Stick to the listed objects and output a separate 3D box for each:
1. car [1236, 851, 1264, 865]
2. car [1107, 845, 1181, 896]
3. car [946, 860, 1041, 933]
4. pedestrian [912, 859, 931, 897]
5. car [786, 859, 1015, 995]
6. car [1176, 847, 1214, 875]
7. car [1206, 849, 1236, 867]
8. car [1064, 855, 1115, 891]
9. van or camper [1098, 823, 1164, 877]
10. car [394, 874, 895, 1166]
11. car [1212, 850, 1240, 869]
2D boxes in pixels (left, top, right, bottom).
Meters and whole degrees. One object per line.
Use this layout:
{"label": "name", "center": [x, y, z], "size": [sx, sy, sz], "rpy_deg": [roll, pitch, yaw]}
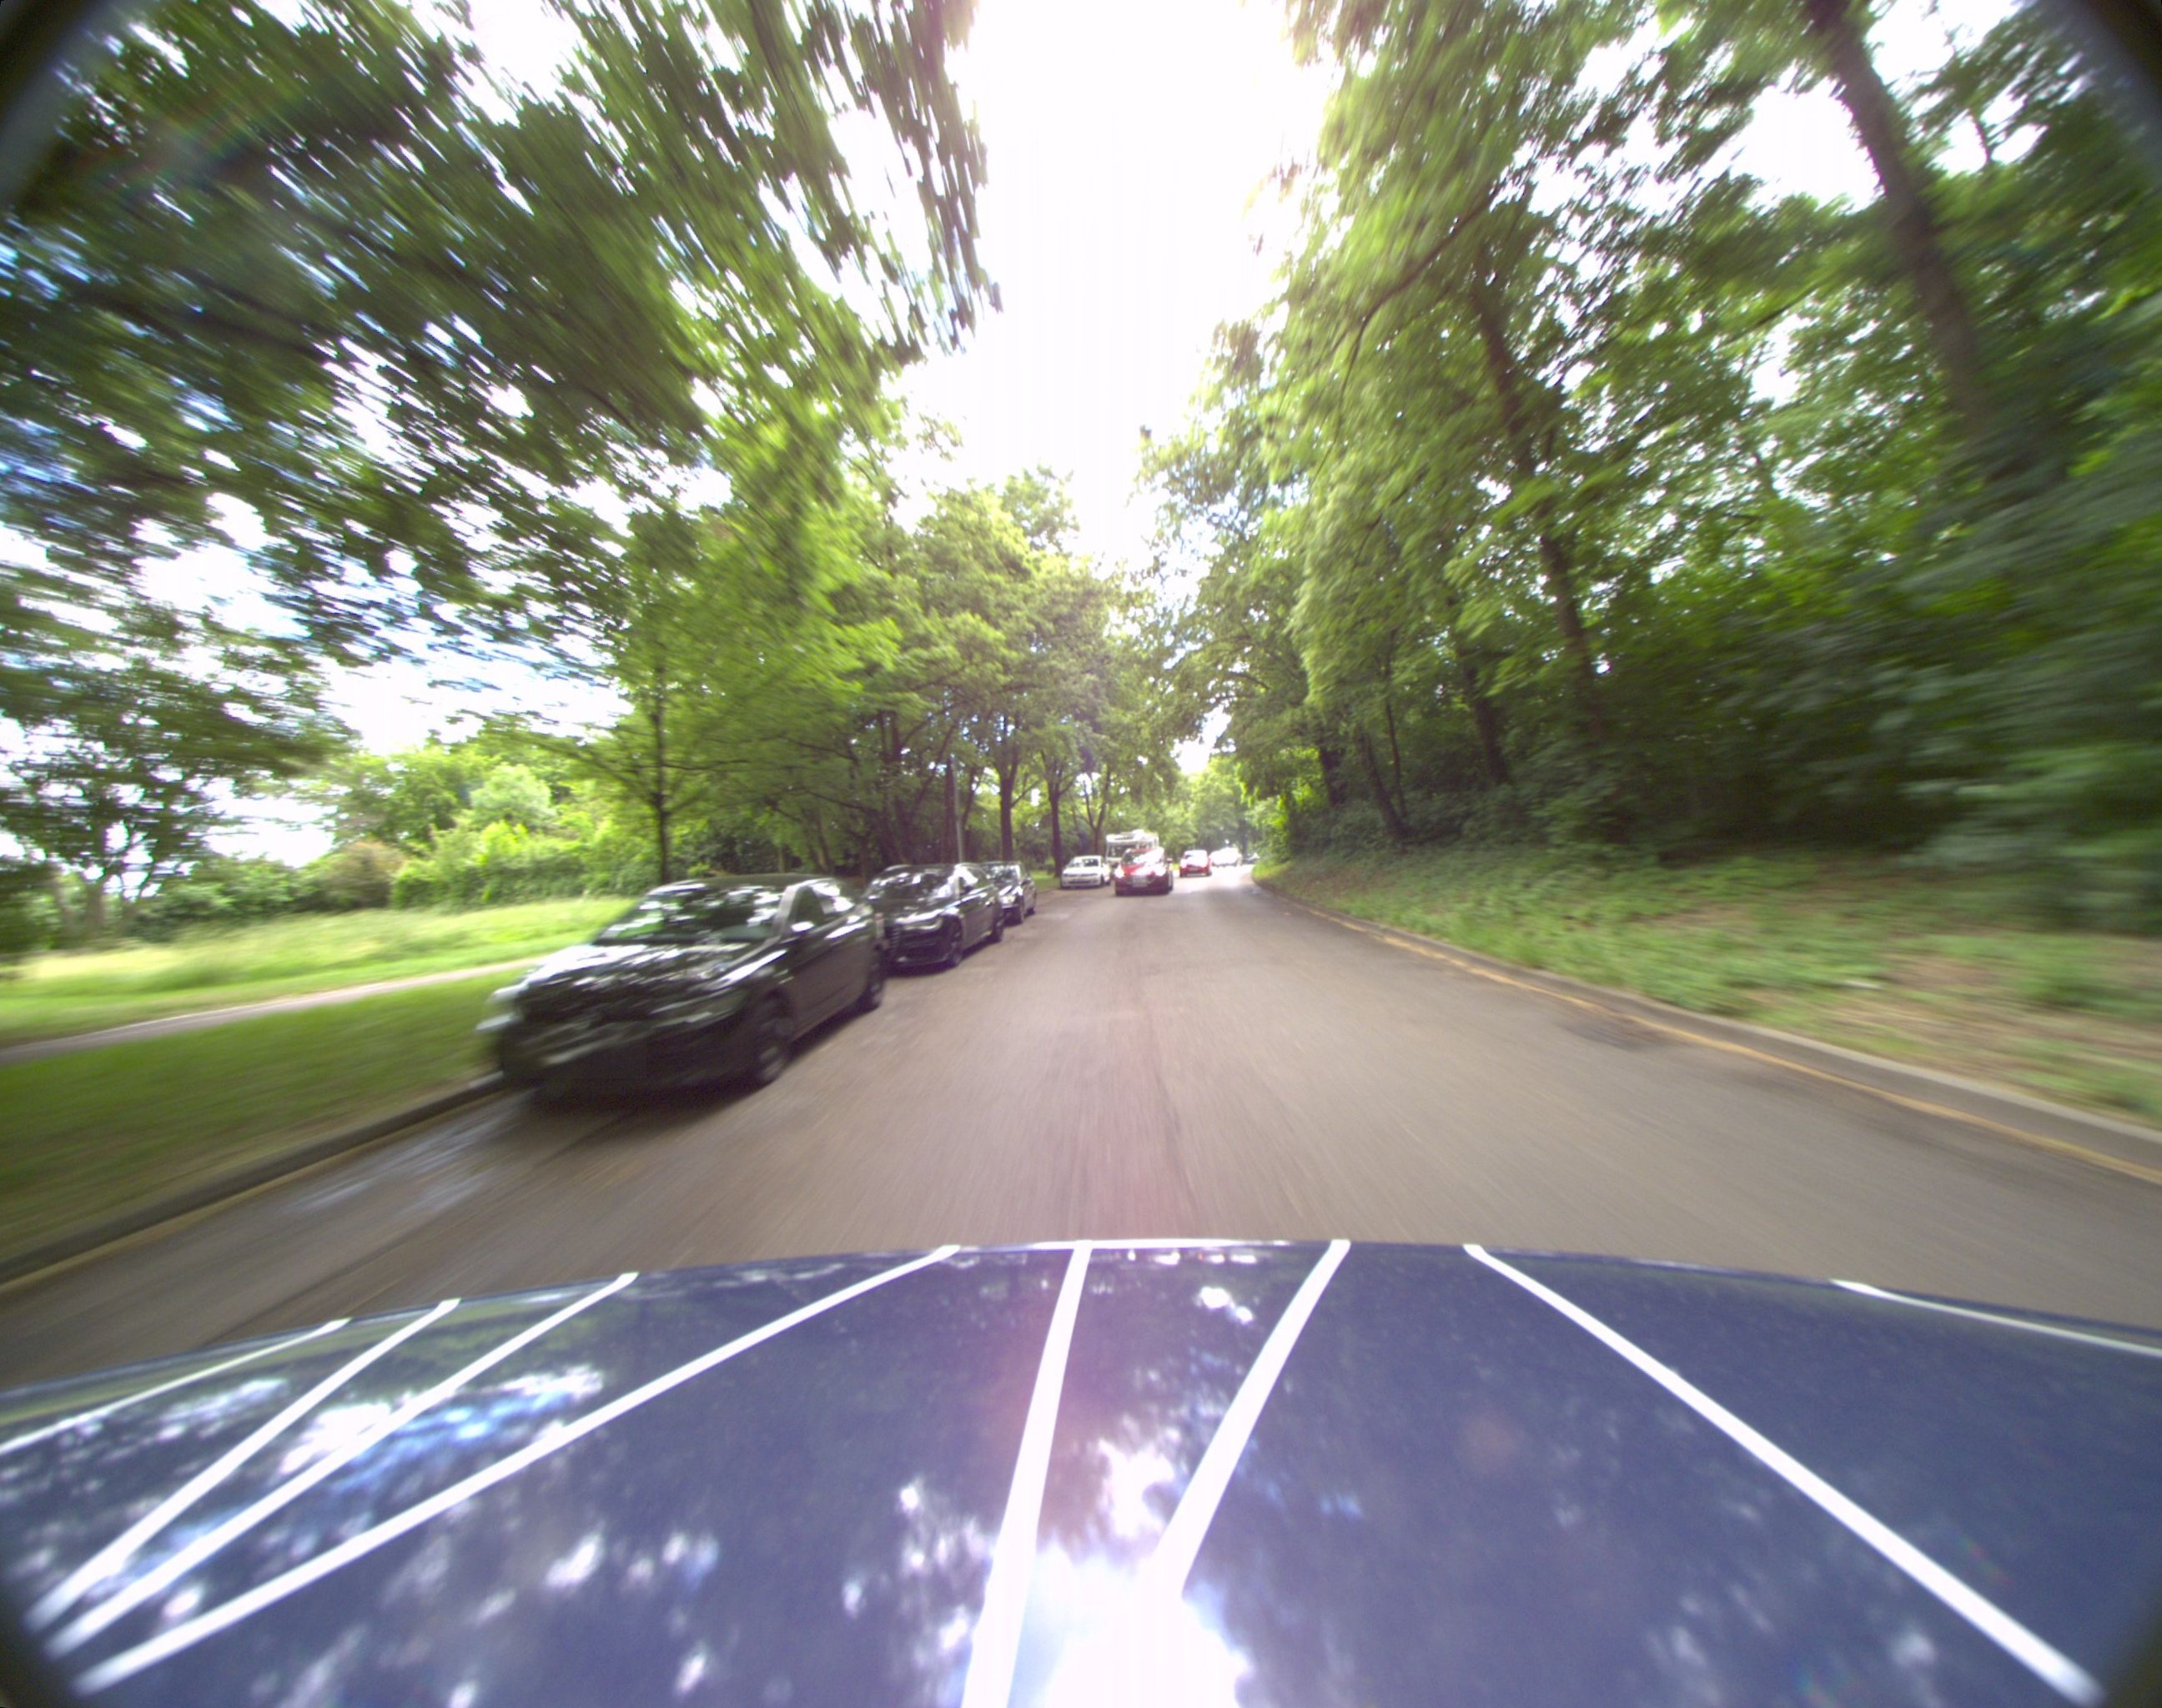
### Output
{"label": "car", "center": [19.140, 0.435, 86.028], "size": [1.712, 1.248, 4.685], "rpy_deg": [-4, 0, 30]}
{"label": "car", "center": [2.395, 0.532, 27.757], "size": [2.002, 1.599, 4.681], "rpy_deg": [-4, 0, 12]}
{"label": "car", "center": [-1.946, 0.921, 18.158], "size": [1.593, 1.457, 4.317], "rpy_deg": [-3, -1, 2]}
{"label": "pedestrian", "center": [-7.176, 1.077, 34.163], "size": [0.582, 1.642, 0.872], "rpy_deg": [-4, 0, 0]}
{"label": "car", "center": [-2.523, 0.952, 12.040], "size": [1.917, 1.602, 4.736], "rpy_deg": [-4, 0, 7]}
{"label": "car", "center": [6.744, 0.364, 44.599], "size": [1.956, 1.464, 4.681], "rpy_deg": [-4, 0, 10]}
{"label": "car", "center": [14.152, 0.407, 76.622], "size": [1.712, 1.543, 4.684], "rpy_deg": [-4, 0, 25]}
{"label": "car", "center": [0.451, 0.840, 35.600], "size": [1.692, 1.474, 4.109], "rpy_deg": [-4, 0, 9]}
{"label": "van or camper", "center": [3.240, -0.260, 47.384], "size": [2.428, 2.962, 7.401], "rpy_deg": [-4, 0, 16]}
{"label": "car", "center": [-2.929, 0.988, 6.208], "size": [1.686, 1.456, 3.898], "rpy_deg": [-4, 0, 1]}
{"label": "car", "center": [12.765, 0.498, 67.059], "size": [1.654, 1.559, 4.046], "rpy_deg": [-4, 0, 0]}
